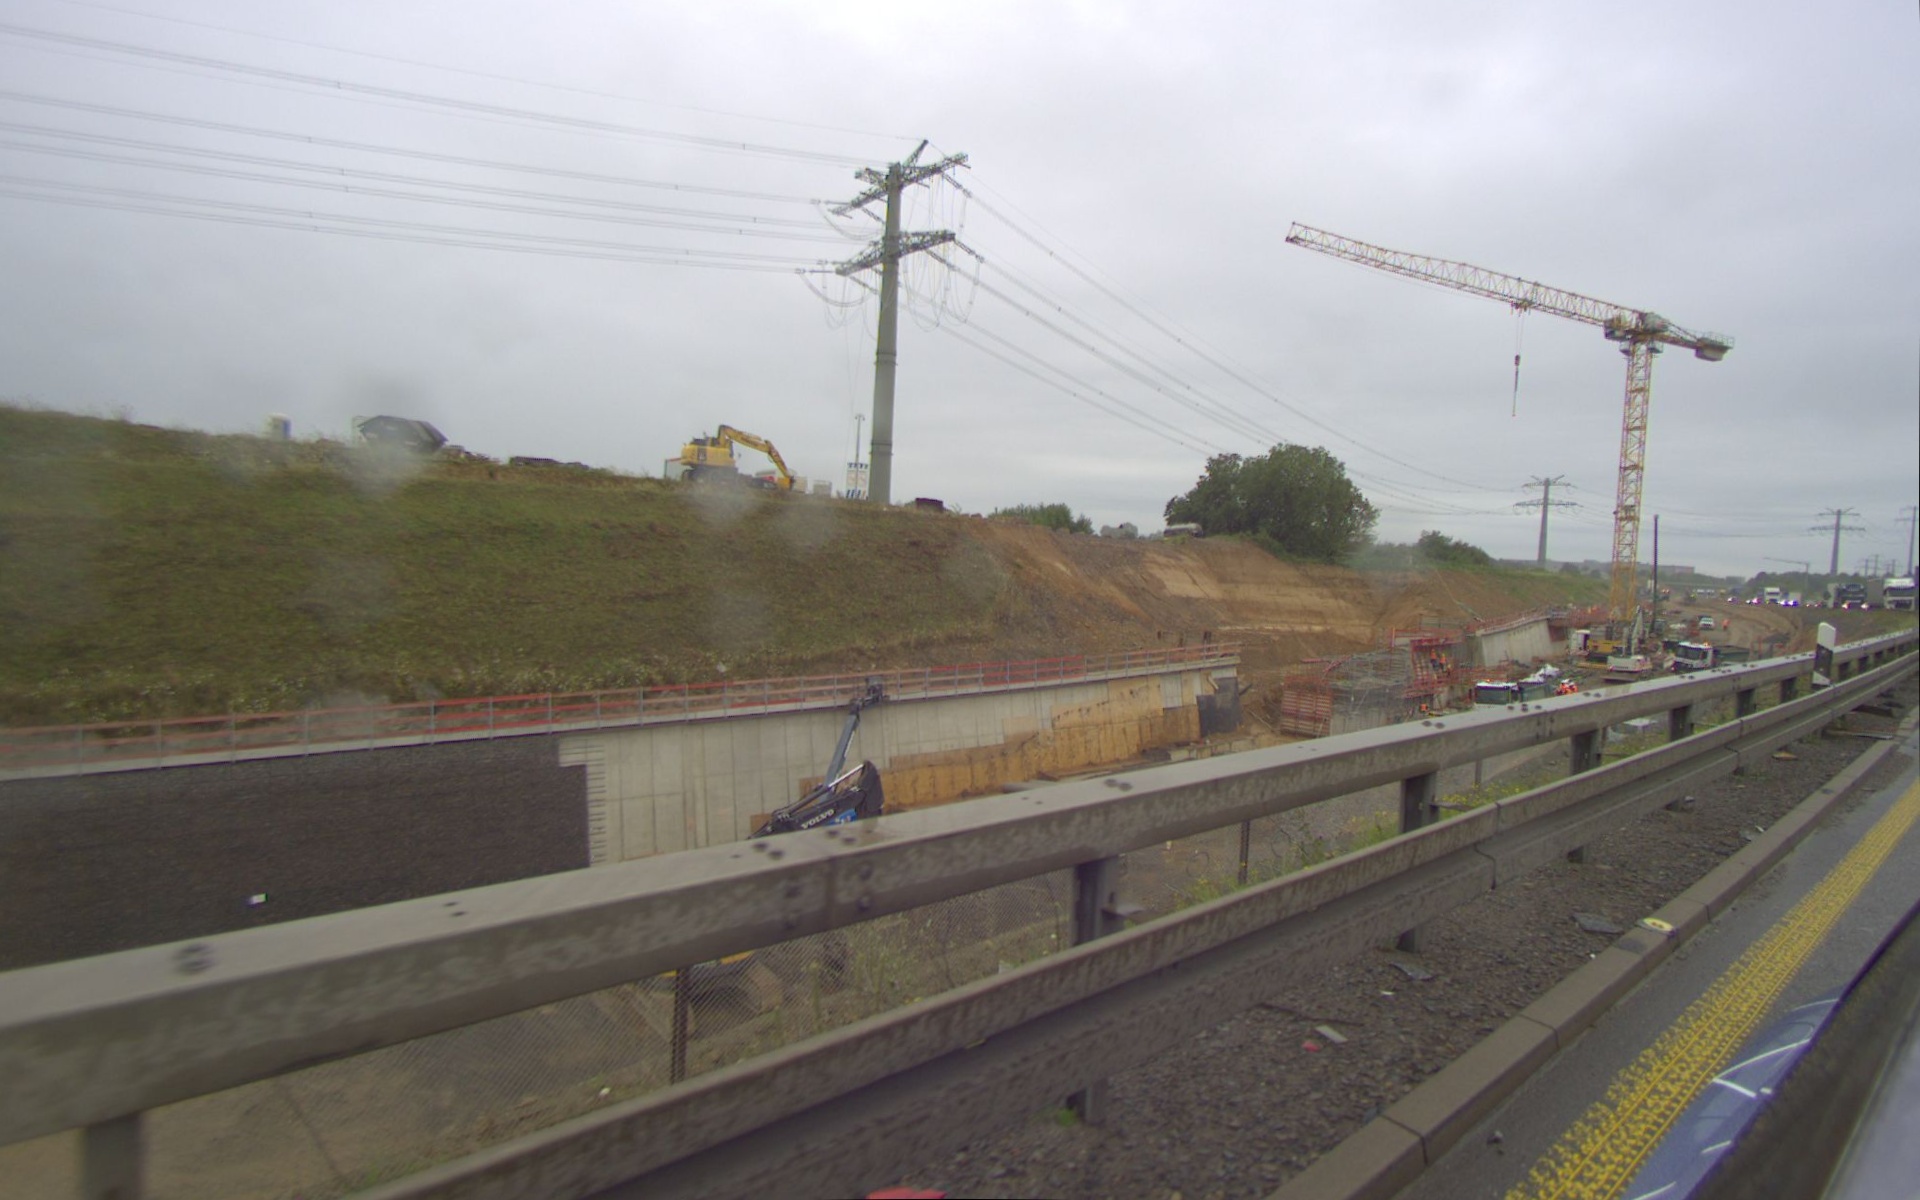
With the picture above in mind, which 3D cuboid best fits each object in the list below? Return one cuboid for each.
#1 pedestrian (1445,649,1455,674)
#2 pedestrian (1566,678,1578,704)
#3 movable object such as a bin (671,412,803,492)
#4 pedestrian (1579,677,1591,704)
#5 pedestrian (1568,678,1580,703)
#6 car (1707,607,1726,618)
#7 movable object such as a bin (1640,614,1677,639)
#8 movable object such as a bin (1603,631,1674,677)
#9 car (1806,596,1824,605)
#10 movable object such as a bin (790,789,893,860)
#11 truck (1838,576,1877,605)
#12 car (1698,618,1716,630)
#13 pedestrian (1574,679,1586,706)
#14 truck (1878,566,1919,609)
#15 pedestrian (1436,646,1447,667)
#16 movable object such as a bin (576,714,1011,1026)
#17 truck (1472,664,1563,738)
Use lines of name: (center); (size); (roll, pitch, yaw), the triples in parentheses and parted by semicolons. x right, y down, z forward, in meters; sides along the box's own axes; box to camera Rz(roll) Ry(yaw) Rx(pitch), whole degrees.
pedestrian: (43.872, 5.508, 90.618); (0.487, 2.127, 0.474); (-6, -4, 42)
pedestrian: (47.960, 7.145, 79.286); (0.601, 1.928, 0.474); (4, 3, 43)
movable object such as a bin: (-14.640, -9.636, 66.831); (8.033, 4.258, 3.106); (0, 2, -40)
pedestrian: (48.347, 7.000, 78.268); (0.601, 1.928, 0.474); (3, 3, 43)
pedestrian: (46.951, 6.889, 77.415); (0.602, 1.791, 0.474); (6, 4, 42)
car: (130.855, 2.181, 175.035); (2.343, 1.638, 4.788); (2, 2, 41)
movable object such as a bin: (98.083, 3.734, 142.058); (3.493, 2.915, 3.940); (9, 6, 42)
movable object such as a bin: (60.708, 4.768, 90.568); (6.534, 3.466, 3.516); (-2, 2, -39)
car: (136.985, 0.055, 162.109); (1.778, 1.445, 3.951); (-1, 0, 34)
movable object such as a bin: (-4.736, 8.942, 40.650); (2.515, 1.935, 3.206); (-2, -1, 44)
truck: (126.380, -1.343, 142.655); (3.529, 3.943, 8.220); (-1, 0, 38)
car: (113.104, 3.639, 153.237); (1.853, 1.638, 4.020); (2, 2, 41)
pedestrian: (47.607, 7.109, 77.730); (0.601, 1.928, 0.605); (3, 2, 42)
truck: (103.187, -1.353, 110.388); (4.304, 4.399, 13.206); (-1, 0, 42)
pedestrian: (42.664, 4.987, 89.708); (0.570, 1.827, 0.490); (-3, -3, -7)
movable object such as a bin: (-4.551, 7.211, 30.355); (11.885, 5.740, 4.901); (-4, 1, -41)
truck: (36.899, 6.520, 66.820); (8.927, 3.655, 2.705); (-2, 4, -44)
